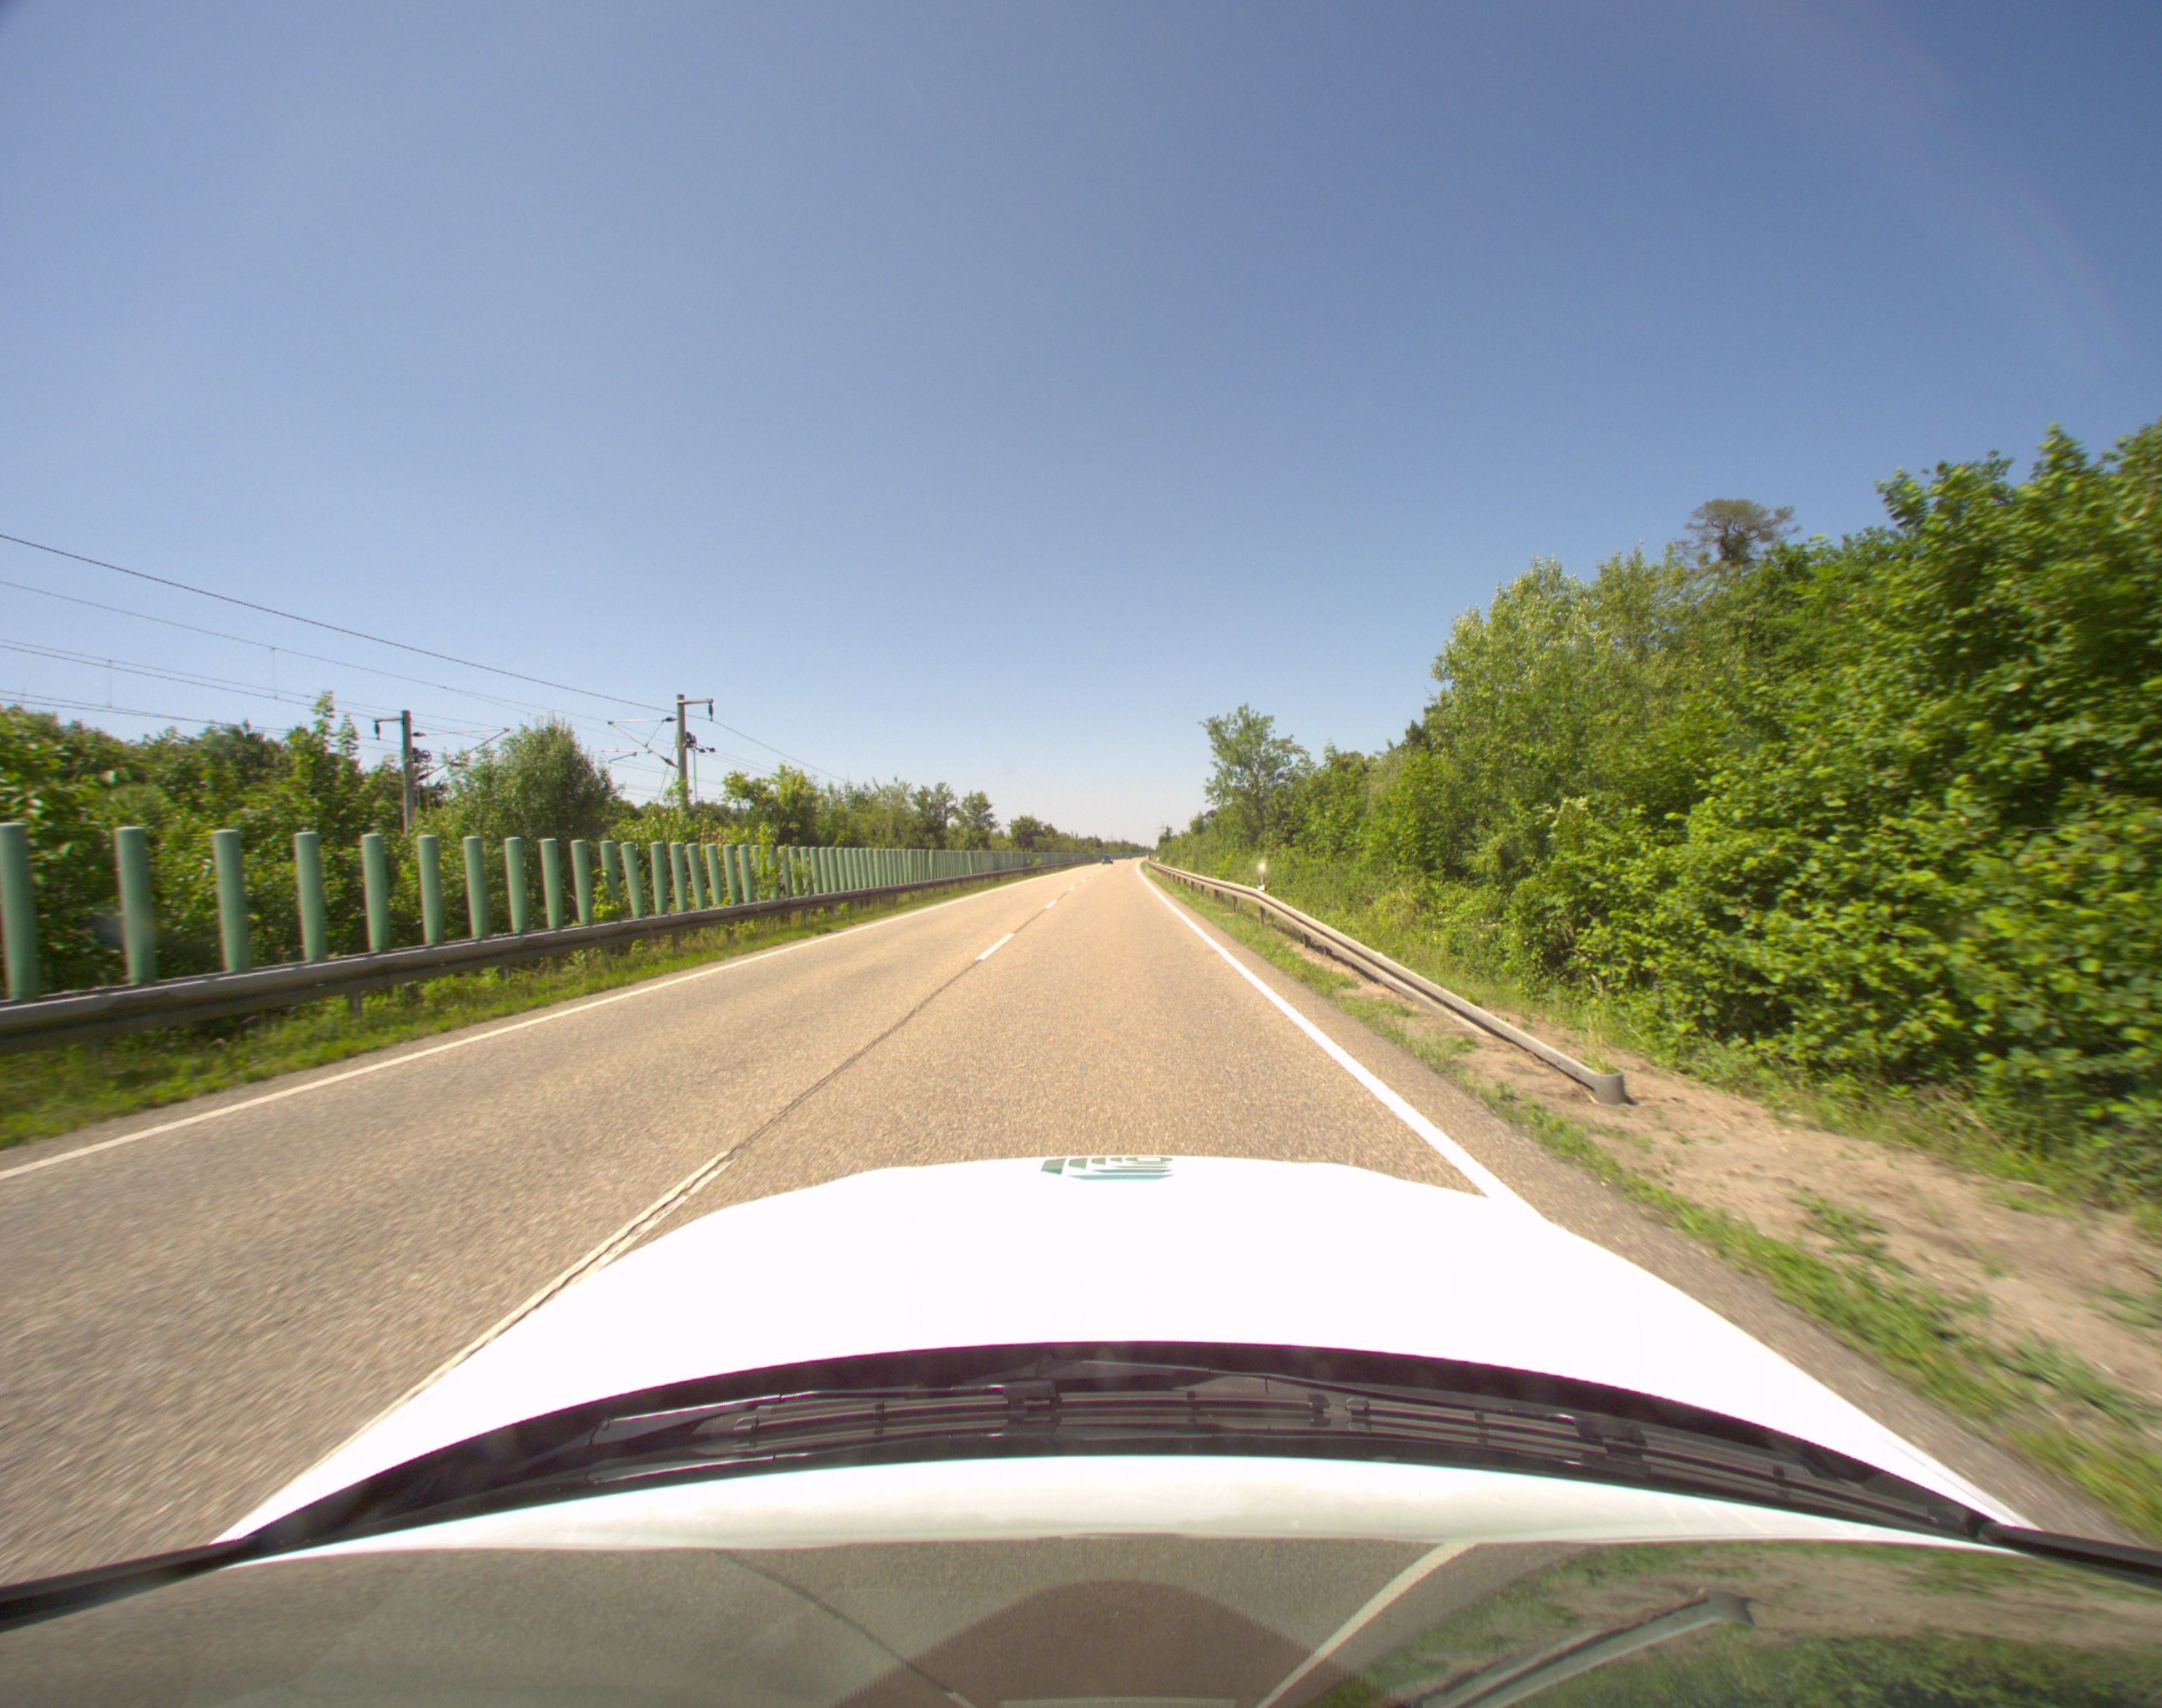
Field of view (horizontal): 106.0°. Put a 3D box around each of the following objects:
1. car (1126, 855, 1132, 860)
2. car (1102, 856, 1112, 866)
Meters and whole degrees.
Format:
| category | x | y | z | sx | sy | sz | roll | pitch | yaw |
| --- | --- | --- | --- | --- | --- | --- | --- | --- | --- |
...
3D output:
| category | x | y | z | sx | sy | sz | roll | pitch | yaw |
| --- | --- | --- | --- | --- | --- | --- | --- | --- | --- |
| car | 14.510 | 1.121 | 247.629 | 1.641 | 1.479 | 3.680 | -2 | 0 | 3 |
| car | 4.508 | 1.244 | 141.611 | 1.757 | 1.640 | 4.129 | -1 | -1 | 3 |
